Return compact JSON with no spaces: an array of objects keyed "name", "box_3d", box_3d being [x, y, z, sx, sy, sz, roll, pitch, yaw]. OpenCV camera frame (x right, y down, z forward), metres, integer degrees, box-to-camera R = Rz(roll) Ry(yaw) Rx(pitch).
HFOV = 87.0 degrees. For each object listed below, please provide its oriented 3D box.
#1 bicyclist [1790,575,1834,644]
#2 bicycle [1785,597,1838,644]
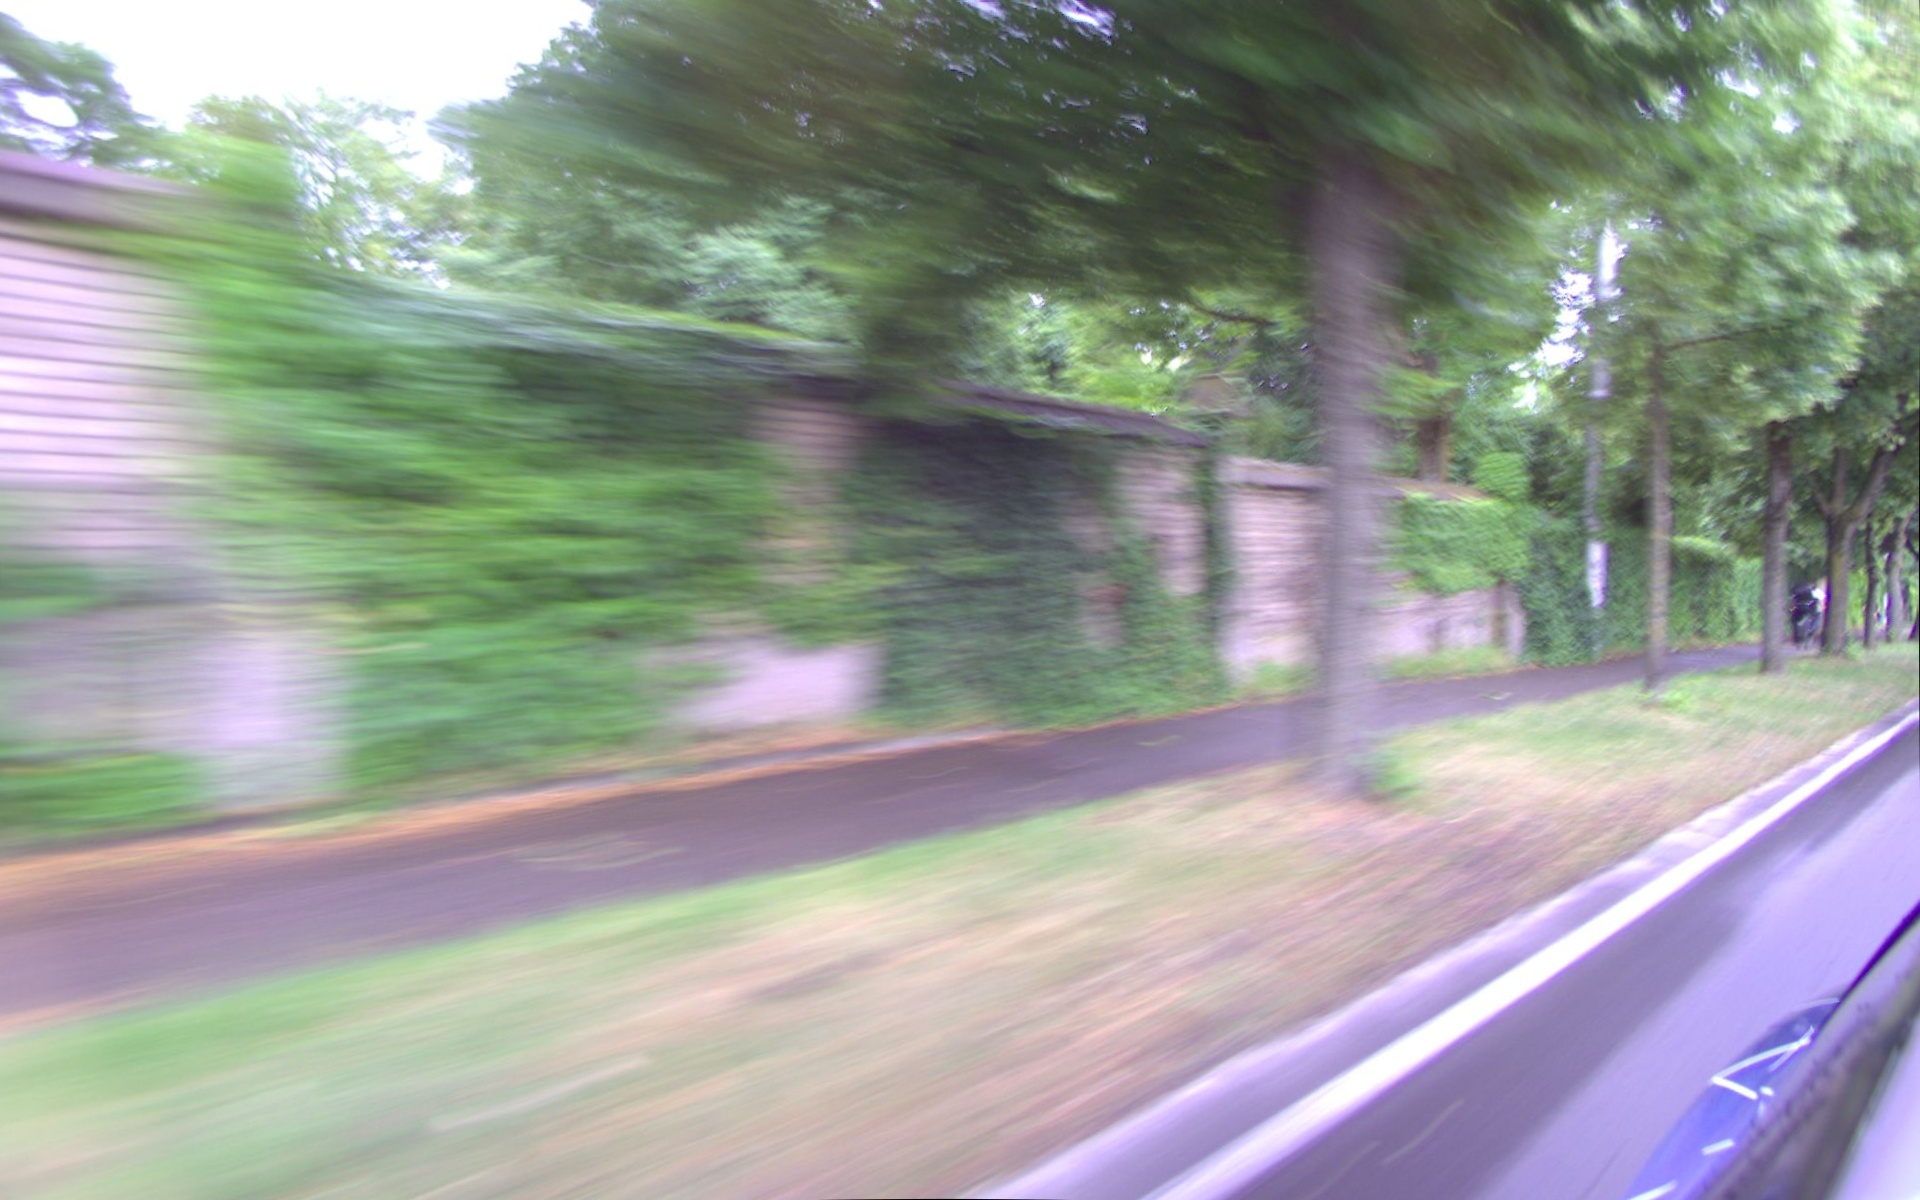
[{"name":"bicyclist","box_3d":[22.412,0.244,26.622,0.879,1.748,0.692,1,2,-41]},{"name":"bicycle","box_3d":[22.458,0.518,26.677,2.068,1.164,0.709,0,2,-41]}]
